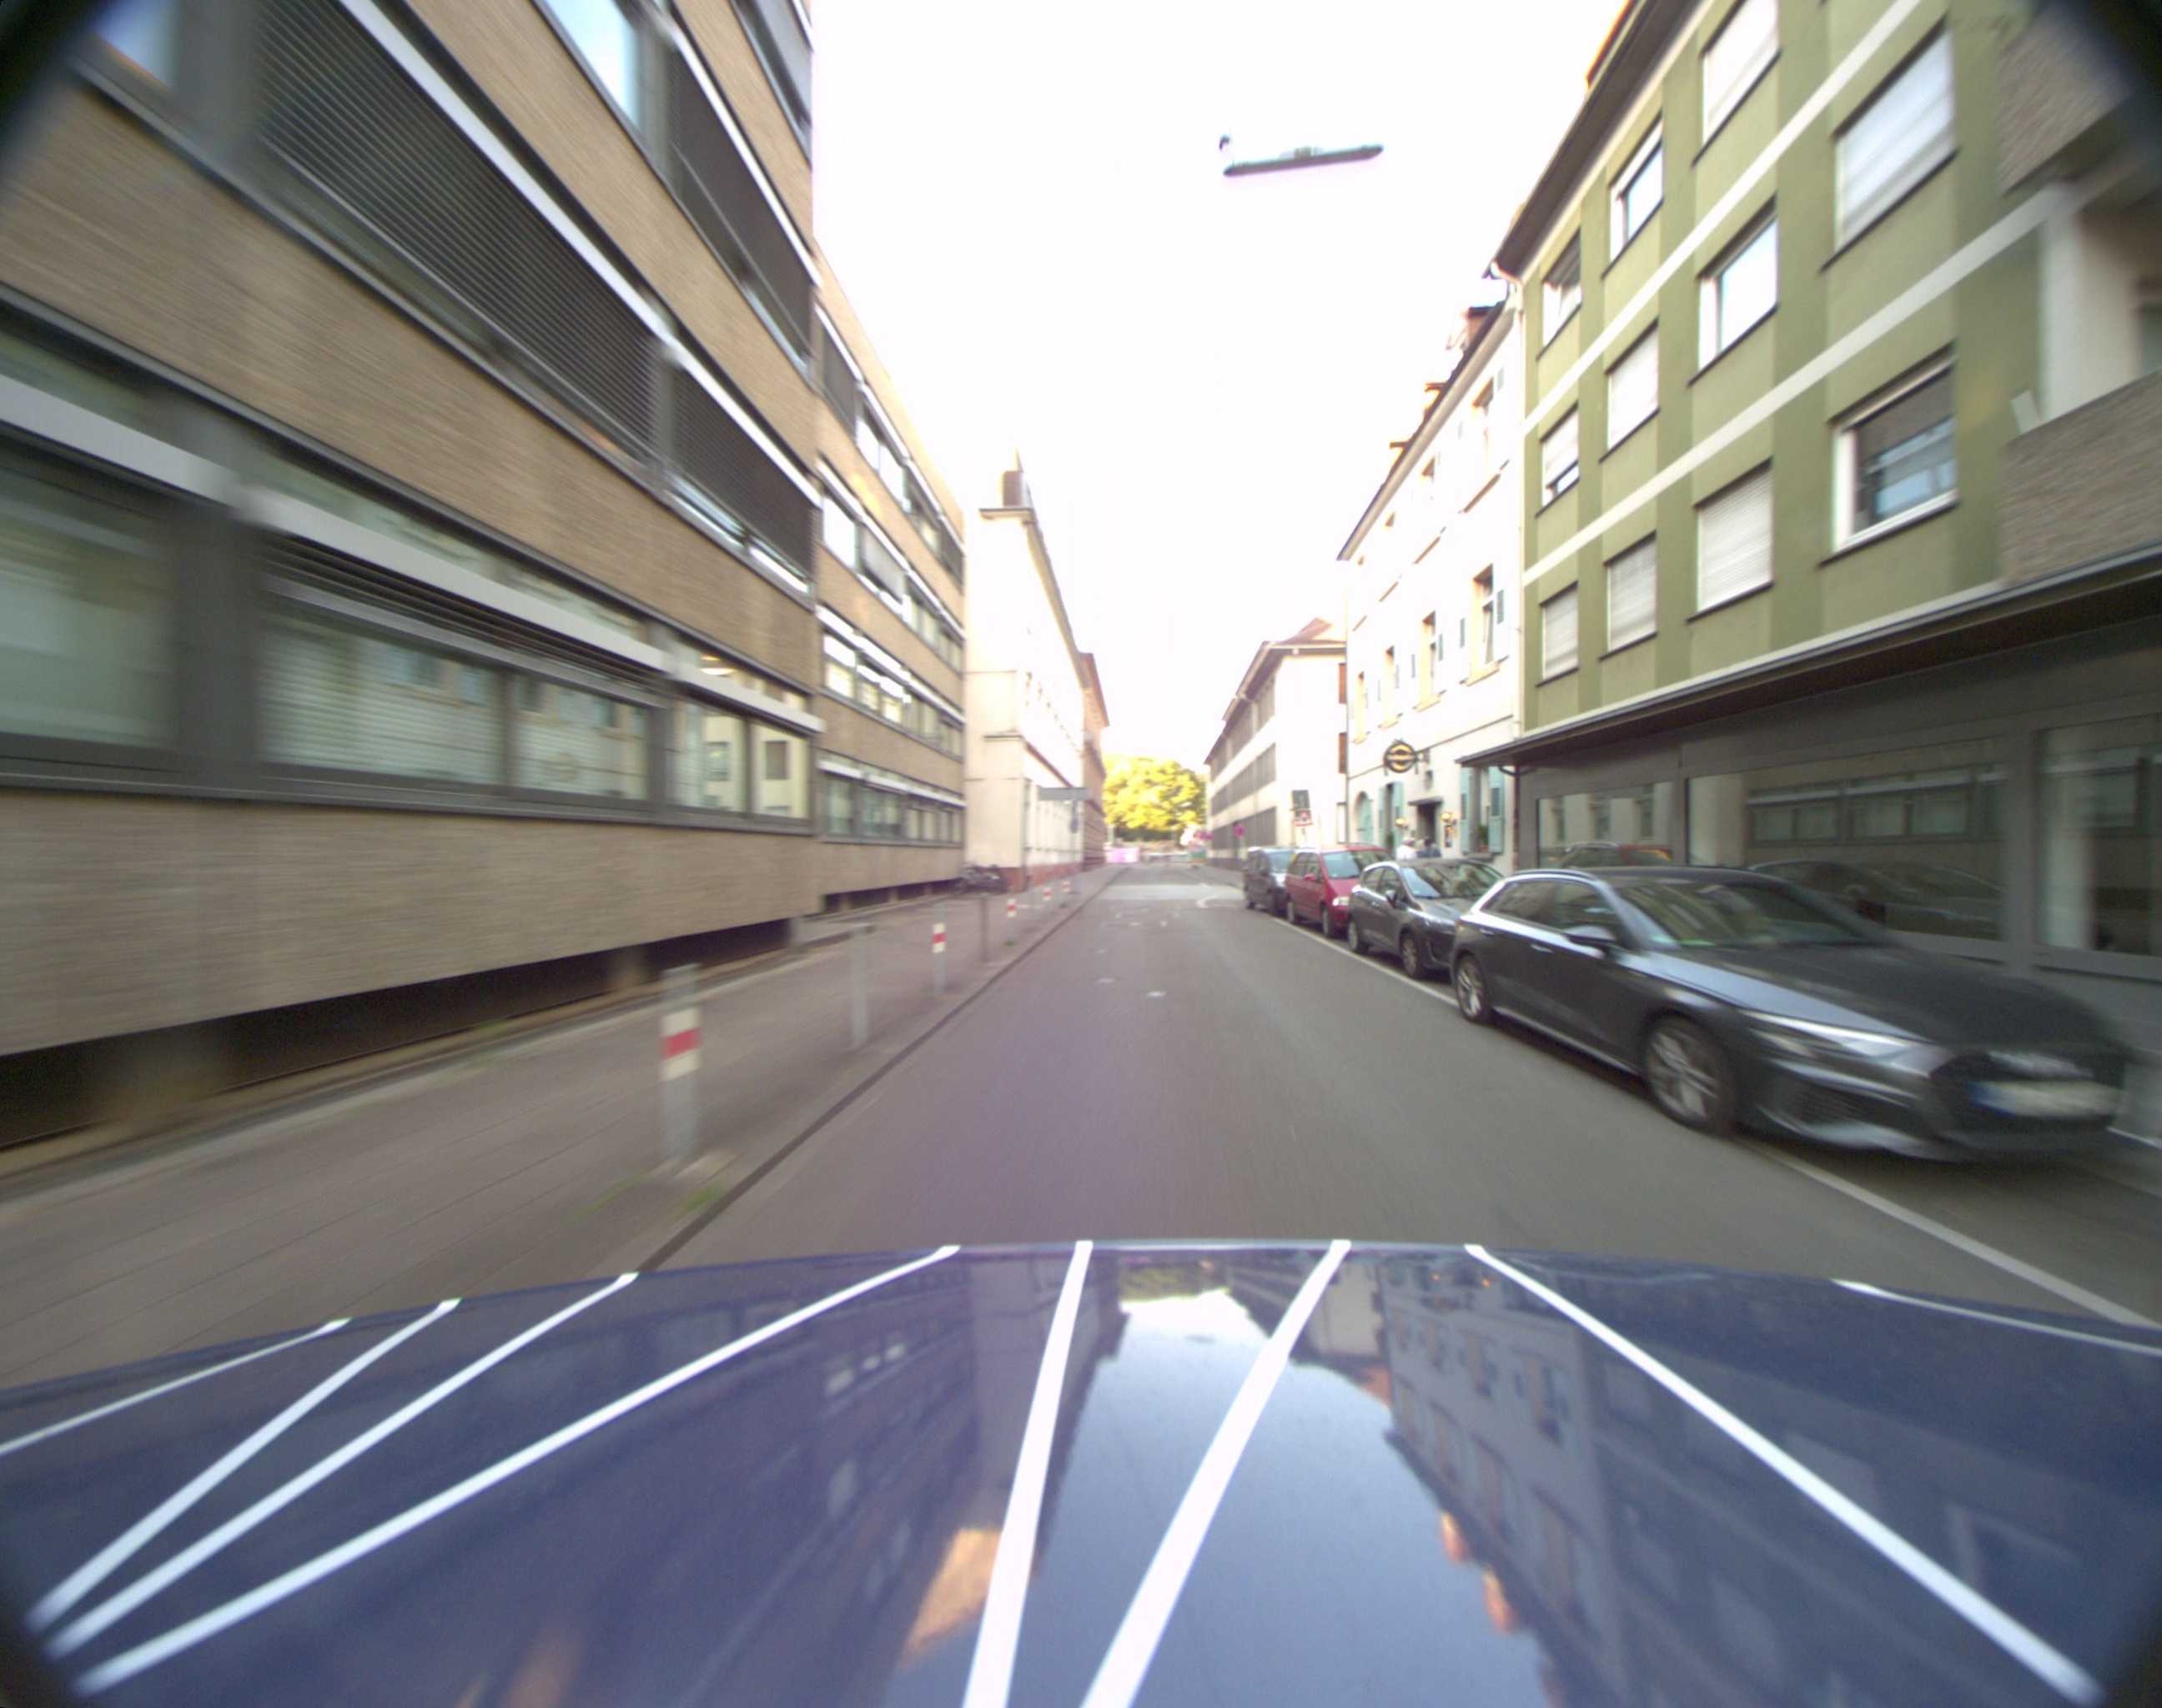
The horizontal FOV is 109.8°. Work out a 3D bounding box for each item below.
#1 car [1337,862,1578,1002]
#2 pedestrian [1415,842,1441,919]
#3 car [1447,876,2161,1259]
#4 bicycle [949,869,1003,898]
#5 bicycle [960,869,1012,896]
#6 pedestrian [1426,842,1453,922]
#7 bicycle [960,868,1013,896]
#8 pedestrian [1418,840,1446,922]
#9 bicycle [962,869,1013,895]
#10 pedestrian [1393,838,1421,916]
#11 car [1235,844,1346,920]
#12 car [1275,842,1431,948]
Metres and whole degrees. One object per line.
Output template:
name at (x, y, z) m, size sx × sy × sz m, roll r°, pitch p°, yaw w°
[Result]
car at (4.832, 0.882, 10.399) m, size 1.627 × 1.476 × 3.879 m, roll 0°, pitch 1°, yaw 5°
pedestrian at (7.951, 0.607, 17.431) m, size 0.407 × 1.740 × 0.470 m, roll -1°, pitch 1°, yaw 6°
car at (4.140, 0.936, 5.085) m, size 1.628 × 1.407 × 3.981 m, roll -1°, pitch 0°, yaw 3°
bicycle at (-3.532, 0.988, 25.640) m, size 1.744 × 0.917 × 0.538 m, roll -1°, pitch 1°, yaw -2°
bicycle at (-3.387, 1.025, 27.206) m, size 1.800 × 0.917 × 0.516 m, roll -1°, pitch 1°, yaw -3°
pedestrian at (7.953, 0.612, 16.870) m, size 0.407 × 1.740 × 0.470 m, roll -1°, pitch 1°, yaw 6°
bicycle at (-3.284, 0.980, 26.438) m, size 1.800 × 0.917 × 0.538 m, roll -1°, pitch 1°, yaw -3°
pedestrian at (7.575, 0.566, 16.388) m, size 0.407 × 1.740 × 0.470 m, roll -1°, pitch 1°, yaw 6°
bicycle at (-3.398, 1.021, 27.779) m, size 1.800 × 0.917 × 0.396 m, roll -1°, pitch 1°, yaw 1°
pedestrian at (7.398, 0.523, 17.249) m, size 0.450 × 1.740 × 0.470 m, roll -1°, pitch 1°, yaw 6°
car at (5.506, 0.669, 20.579) m, size 1.881 × 1.800 × 4.451 m, roll -1°, pitch 0°, yaw 2°
car at (5.294, 0.704, 15.446) m, size 1.776 × 1.800 × 4.511 m, roll -1°, pitch 0°, yaw 3°
